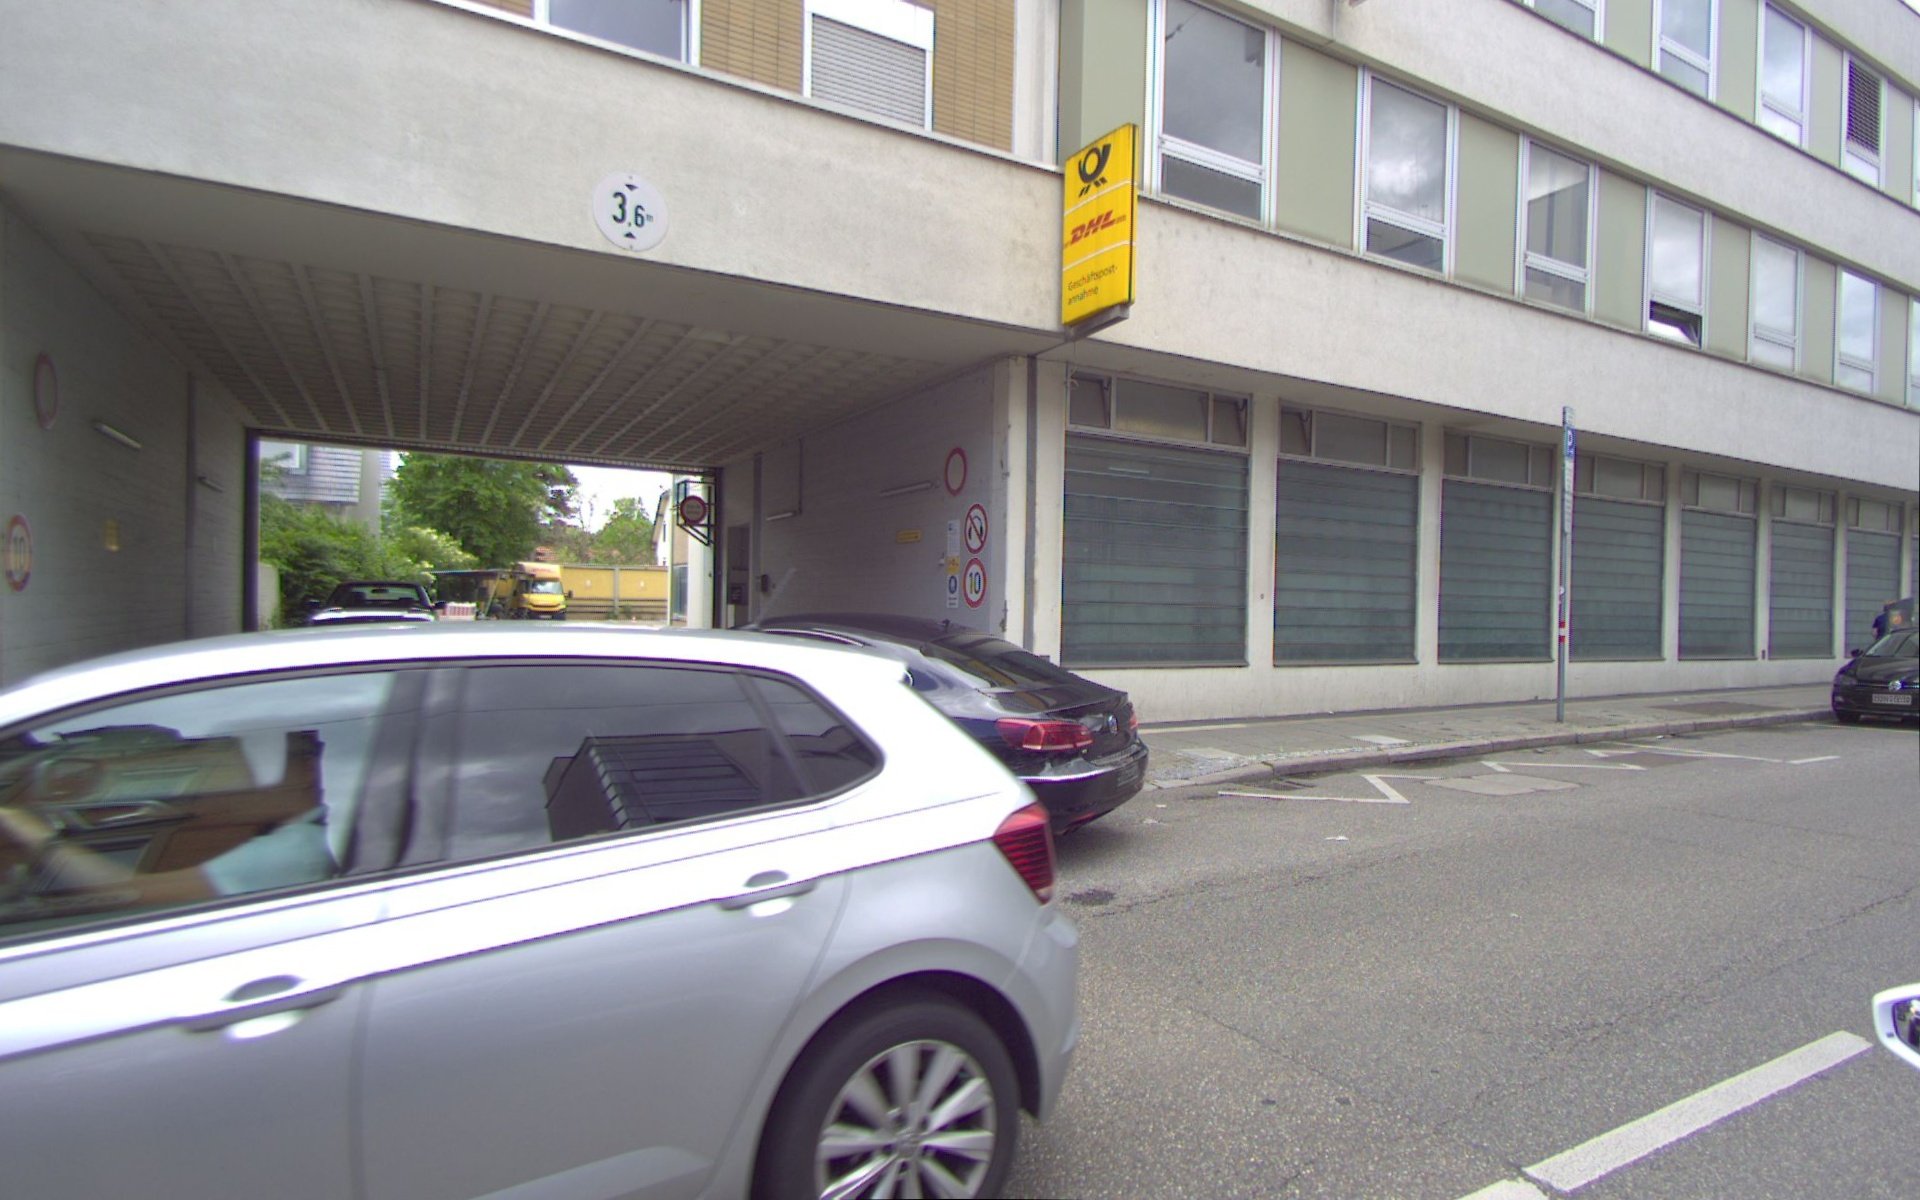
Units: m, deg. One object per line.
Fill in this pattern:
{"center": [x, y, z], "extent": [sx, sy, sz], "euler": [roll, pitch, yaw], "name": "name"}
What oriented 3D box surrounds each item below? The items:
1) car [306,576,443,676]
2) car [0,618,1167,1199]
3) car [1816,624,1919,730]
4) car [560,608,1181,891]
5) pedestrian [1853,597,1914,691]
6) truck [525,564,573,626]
{"center": [-9.072, 0.339, 15.793], "extent": [1.604, 1.341, 4.421], "euler": [1, 0, -28], "name": "car"}
{"center": [-1.649, 0.770, 2.258], "extent": [3.951, 1.436, 1.792], "euler": [1, -2, -29], "name": "car"}
{"center": [14.655, 1.085, 15.015], "extent": [3.826, 1.444, 1.708], "euler": [1, -2, -31], "name": "car"}
{"center": [-0.796, 0.826, 7.289], "extent": [4.376, 1.417, 1.653], "euler": [1, 0, 32], "name": "car"}
{"center": [17.667, 0.829, 19.217], "extent": [1.043, 1.741, 0.586], "euler": [1, 0, -31], "name": "pedestrian"}
{"center": [-20.194, -0.311, 49.302], "extent": [1.972, 2.789, 7.254], "euler": [1, 1, -23], "name": "truck"}
